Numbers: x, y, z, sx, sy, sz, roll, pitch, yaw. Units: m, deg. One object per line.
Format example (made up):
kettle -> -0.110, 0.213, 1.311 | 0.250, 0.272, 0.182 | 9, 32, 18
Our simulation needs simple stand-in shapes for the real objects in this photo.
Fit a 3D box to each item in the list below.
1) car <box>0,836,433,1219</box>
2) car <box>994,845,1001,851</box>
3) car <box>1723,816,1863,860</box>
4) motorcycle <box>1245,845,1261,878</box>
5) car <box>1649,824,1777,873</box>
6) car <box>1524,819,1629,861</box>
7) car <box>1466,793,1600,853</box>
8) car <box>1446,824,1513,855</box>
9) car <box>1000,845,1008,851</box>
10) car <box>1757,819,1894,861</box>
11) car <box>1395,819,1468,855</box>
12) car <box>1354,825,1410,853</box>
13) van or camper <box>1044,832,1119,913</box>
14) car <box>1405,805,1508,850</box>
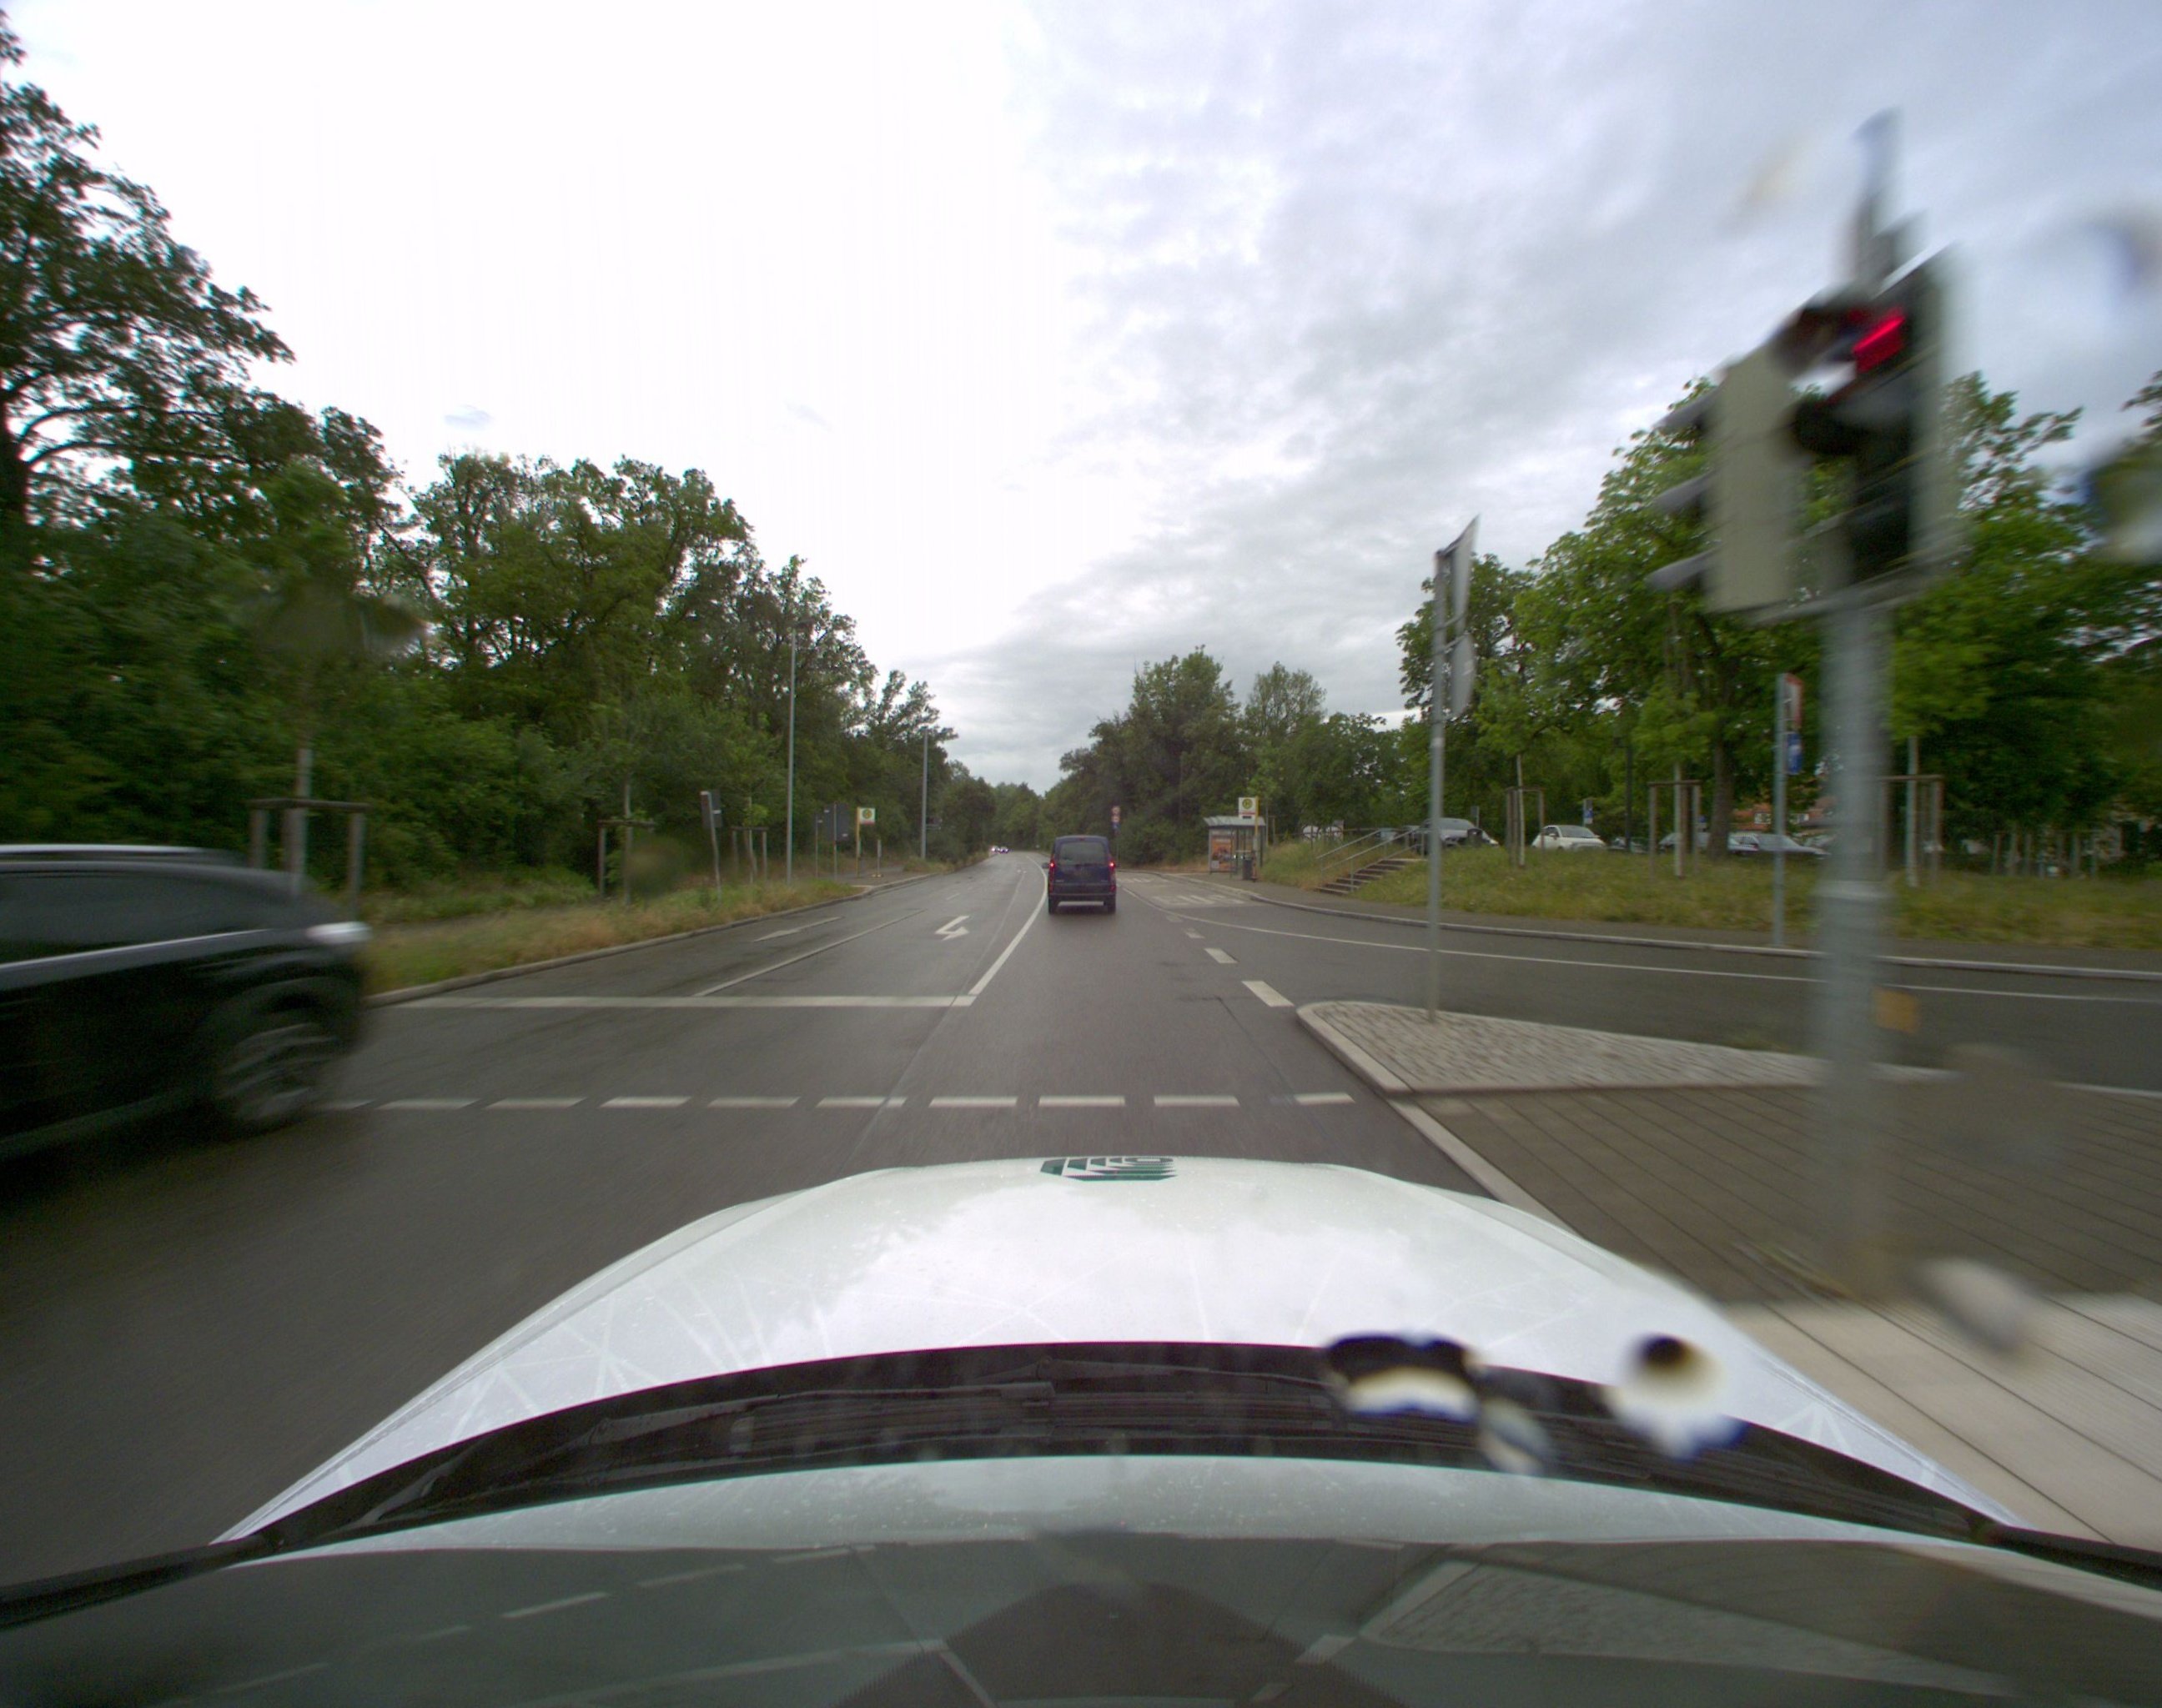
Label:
car -> -5.360, 0.721, 3.298 | 1.783, 1.581, 4.561 | 0, 0, 0
car -> -20.971, -1.566, 204.964 | 1.768, 1.610, 4.077 | 0, 0, -4
car -> 26.692, -0.551, 30.744 | 1.877, 1.480, 4.072 | 3, 0, 3
motorcycle -> 6.808, 0.280, 32.208 | 0.585, 1.289, 1.543 | 0, 0, 13
car -> 24.325, -0.211, 31.553 | 1.985, 1.661, 4.004 | 3, 1, 4
car -> 19.377, -0.513, 32.053 | 1.877, 1.480, 4.074 | 2, 0, 5
car -> 14.265, -0.935, 25.993 | 1.987, 1.661, 4.000 | 3, 1, 0
car -> 21.330, -0.735, 43.761 | 1.877, 1.480, 4.074 | 2, 0, 5
car -> -17.125, -1.316, 181.586 | 1.596, 1.441, 3.983 | -1, 1, -5
car -> 29.450, -0.499, 32.398 | 1.877, 1.480, 4.072 | 3, 0, 3
car -> 17.915, -0.851, 41.858 | 1.985, 1.661, 4.477 | 3, 1, 4
car -> 18.000, -0.862, 48.898 | 1.877, 1.480, 4.788 | 2, 0, 5
van or camper -> -0.075, 0.408, 20.524 | 1.708, 1.826, 3.996 | 0, 0, -2
car -> 14.316, -0.951, 31.345 | 1.987, 1.480, 4.284 | 3, 0, 0
